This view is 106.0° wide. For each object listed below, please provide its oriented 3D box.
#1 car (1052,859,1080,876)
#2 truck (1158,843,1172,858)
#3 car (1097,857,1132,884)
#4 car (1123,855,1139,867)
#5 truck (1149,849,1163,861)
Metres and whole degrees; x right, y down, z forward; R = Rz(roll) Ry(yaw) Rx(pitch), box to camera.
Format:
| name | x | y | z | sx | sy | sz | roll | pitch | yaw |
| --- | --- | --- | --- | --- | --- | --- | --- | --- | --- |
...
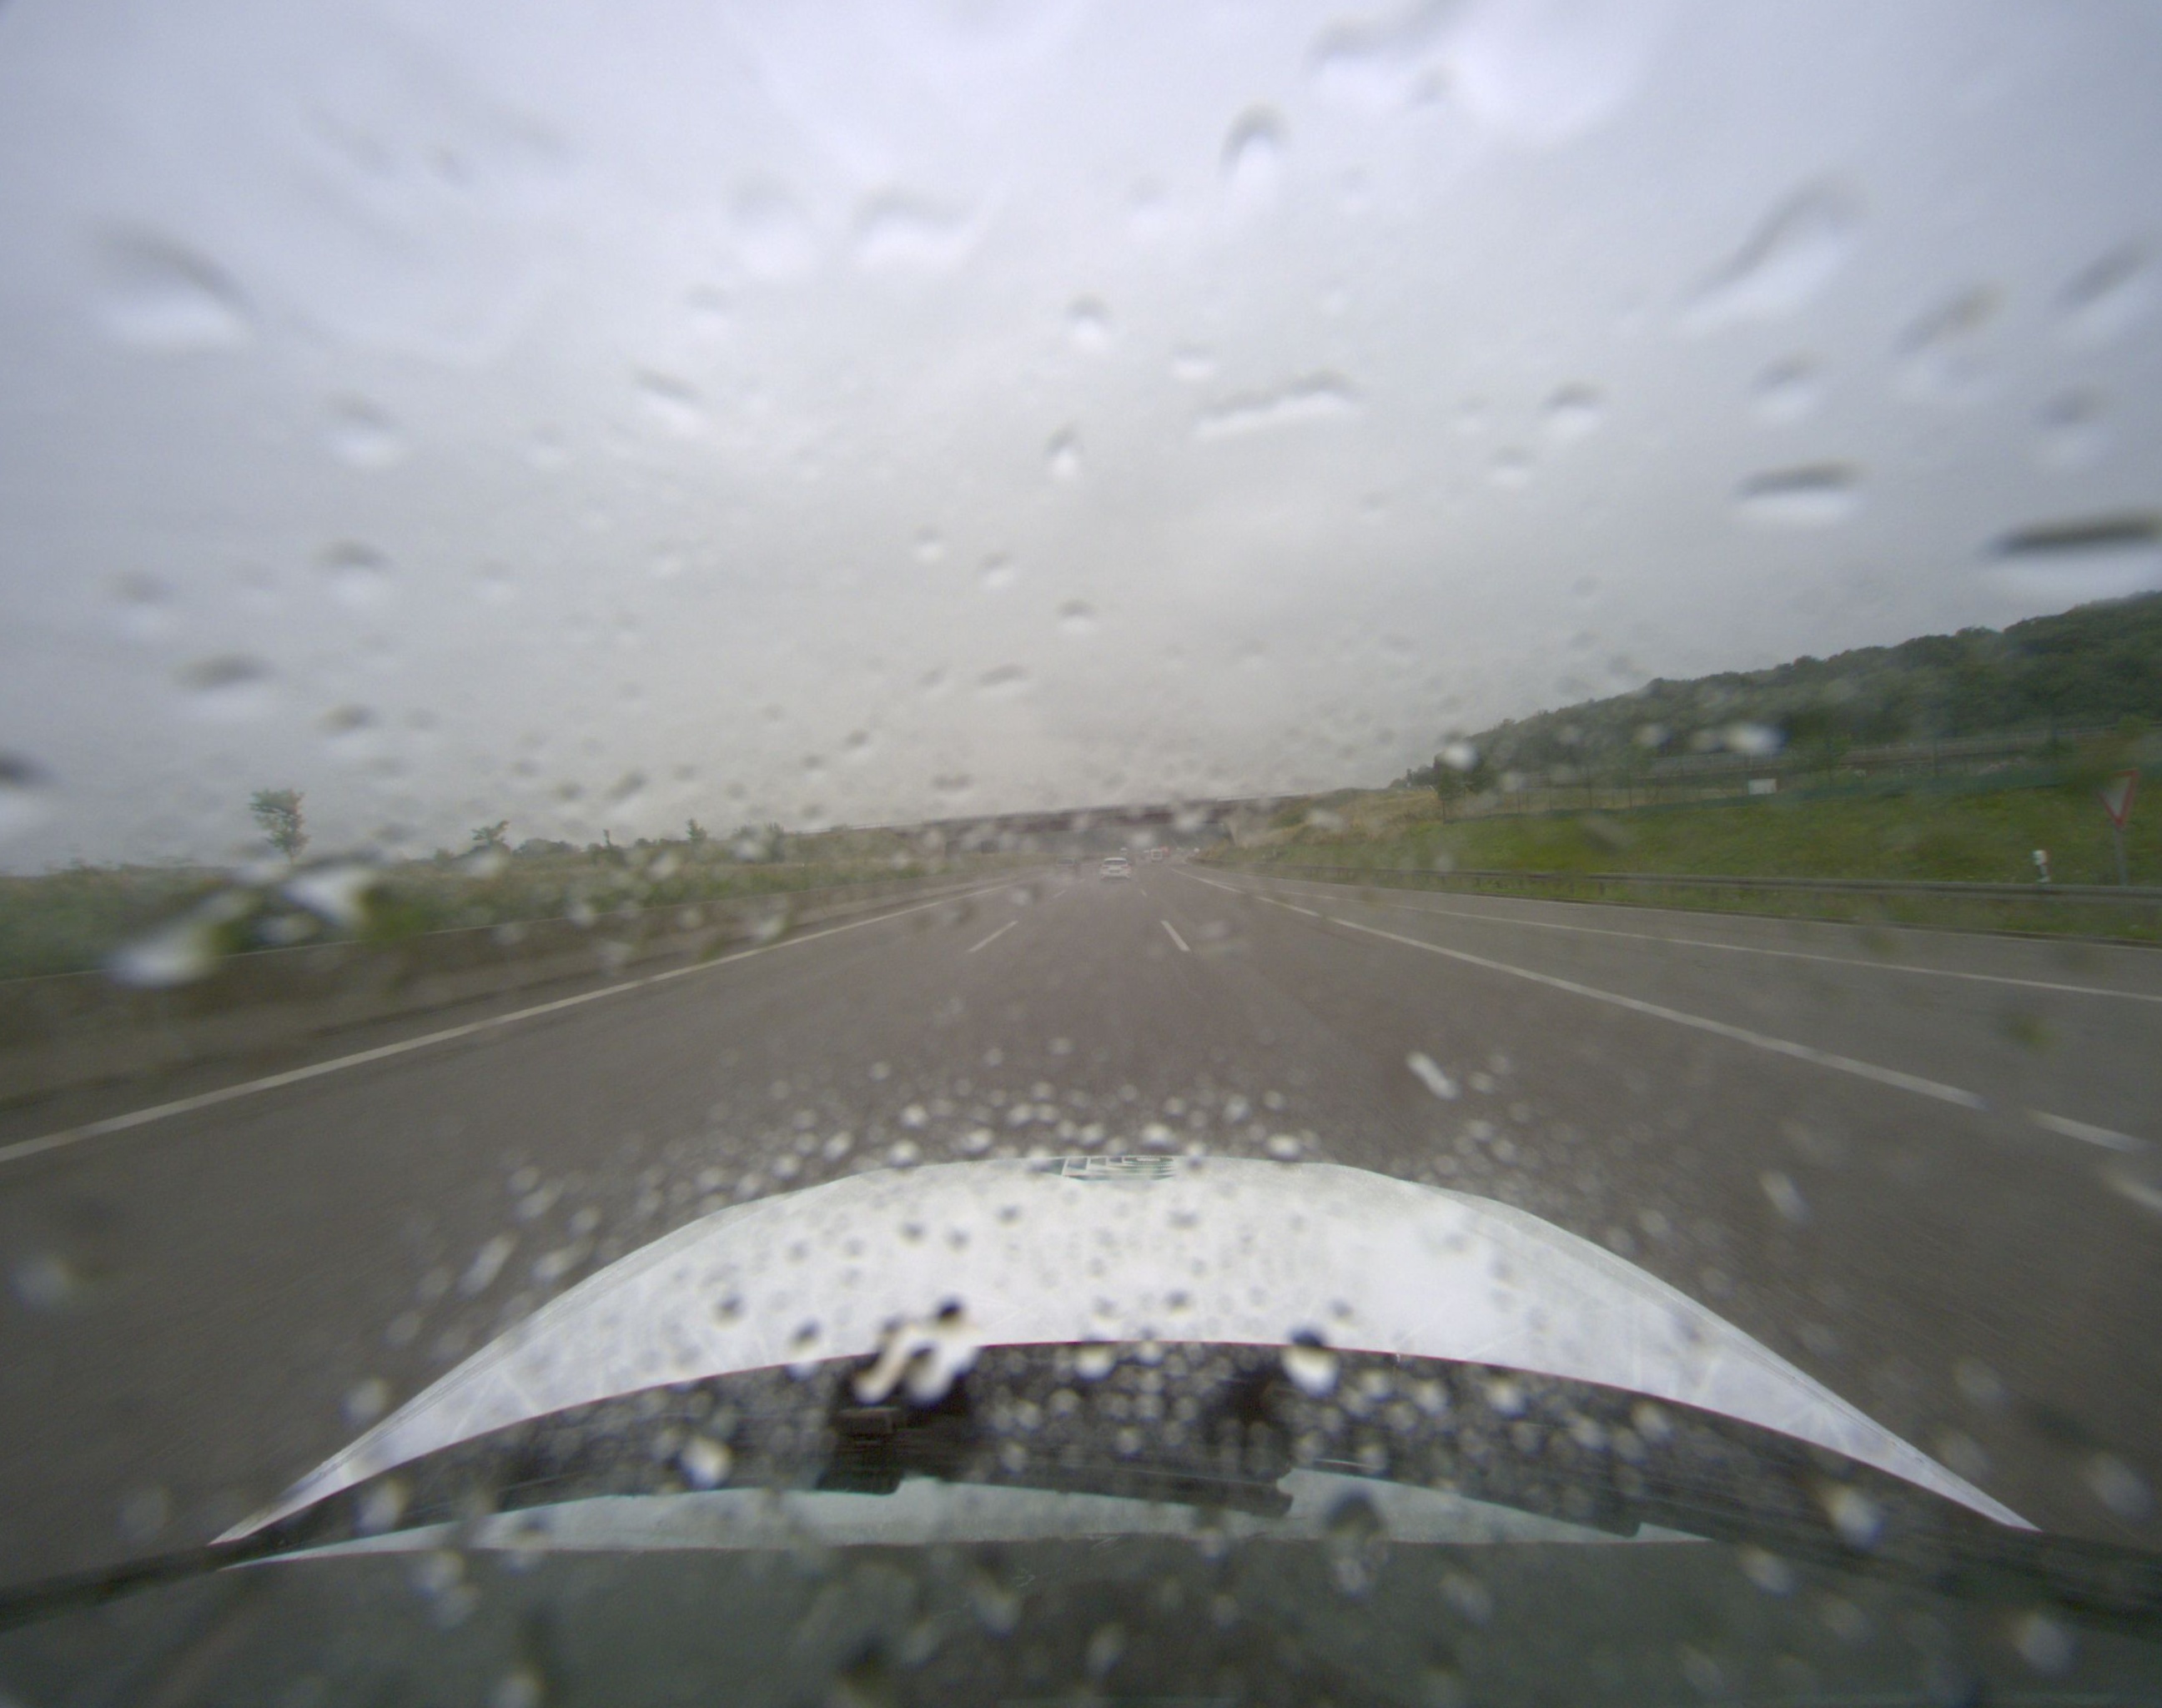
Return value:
| name | x | y | z | sx | sy | sz | roll | pitch | yaw |
| --- | --- | --- | --- | --- | --- | --- | --- | --- | --- |
| car | -1.048 | 0.985 | 59.880 | 1.817 | 1.156 | 4.214 | 0 | -1 | 2 |
| truck | 22.113 | -0.986 | 213.633 | 3.510 | 3.742 | 11.445 | -1 | 1 | 6 |
| car | 1.918 | 0.957 | 47.635 | 1.861 | 1.463 | 4.000 | -1 | -1 | 0 |
| car | 7.002 | 0.926 | 113.608 | 1.983 | 1.618 | 4.007 | -1 | 0 | 6 |
| truck | 14.840 | 0.267 | 161.538 | 2.394 | 2.252 | 4.703 | -1 | 0 | 8 |
